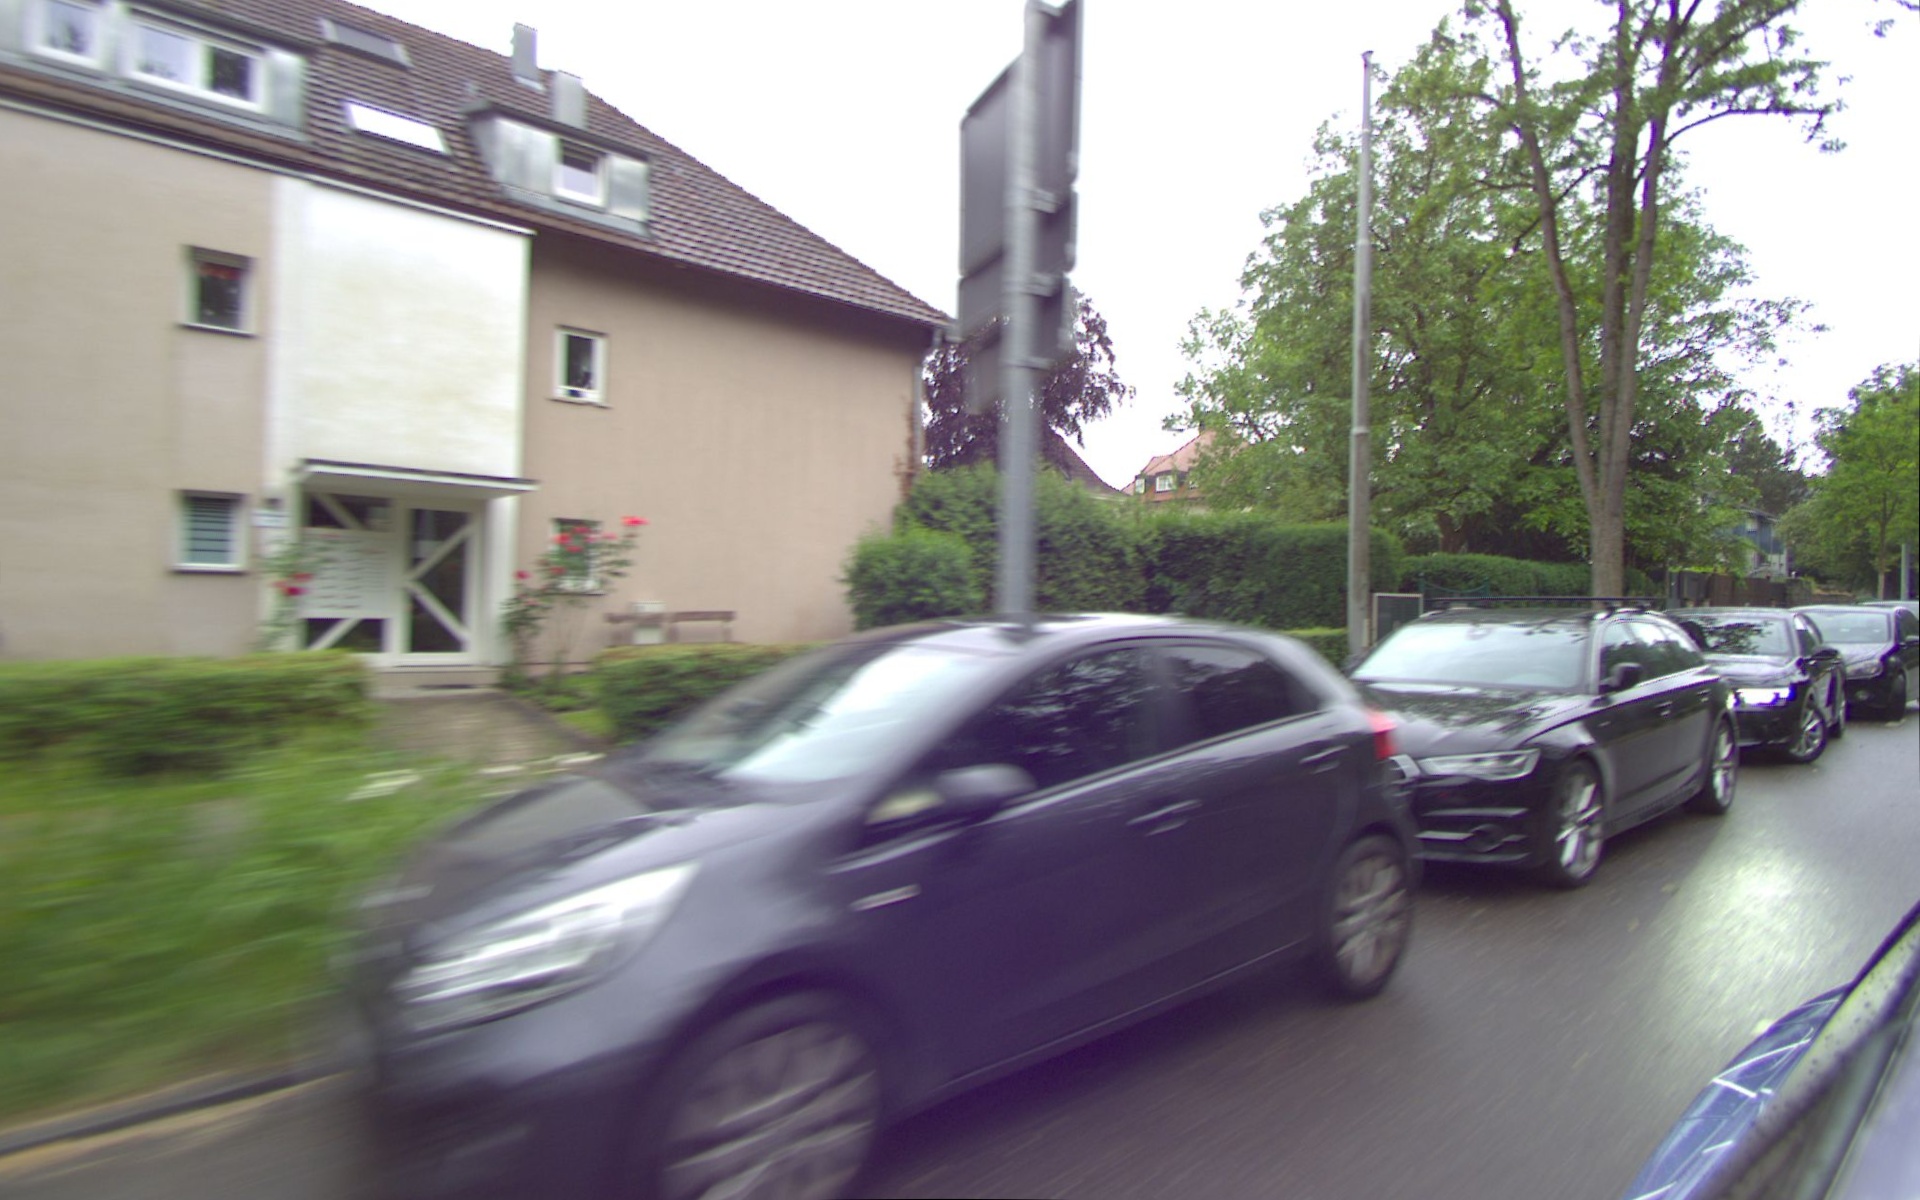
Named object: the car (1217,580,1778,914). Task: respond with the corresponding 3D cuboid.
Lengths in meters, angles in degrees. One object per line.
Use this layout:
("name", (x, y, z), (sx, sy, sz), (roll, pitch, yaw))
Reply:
("car", (3.905, 0.694, 6.911), (4.737, 1.546, 1.756), (0, -1, -40))

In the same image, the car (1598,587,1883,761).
("car", (8.378, 0.646, 10.709), (4.334, 1.487, 1.619), (0, -1, -42))

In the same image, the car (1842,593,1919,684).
("car", (17.101, 0.648, 18.124), (2.752, 1.536, 1.600), (0, 0, -41))

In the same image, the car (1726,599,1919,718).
("car", (12.295, 0.707, 13.983), (3.926, 1.428, 1.733), (0, -1, -38))

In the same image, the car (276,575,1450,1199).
("car", (-0.025, 0.712, 3.576), (3.872, 1.489, 1.621), (0, -1, -38))
